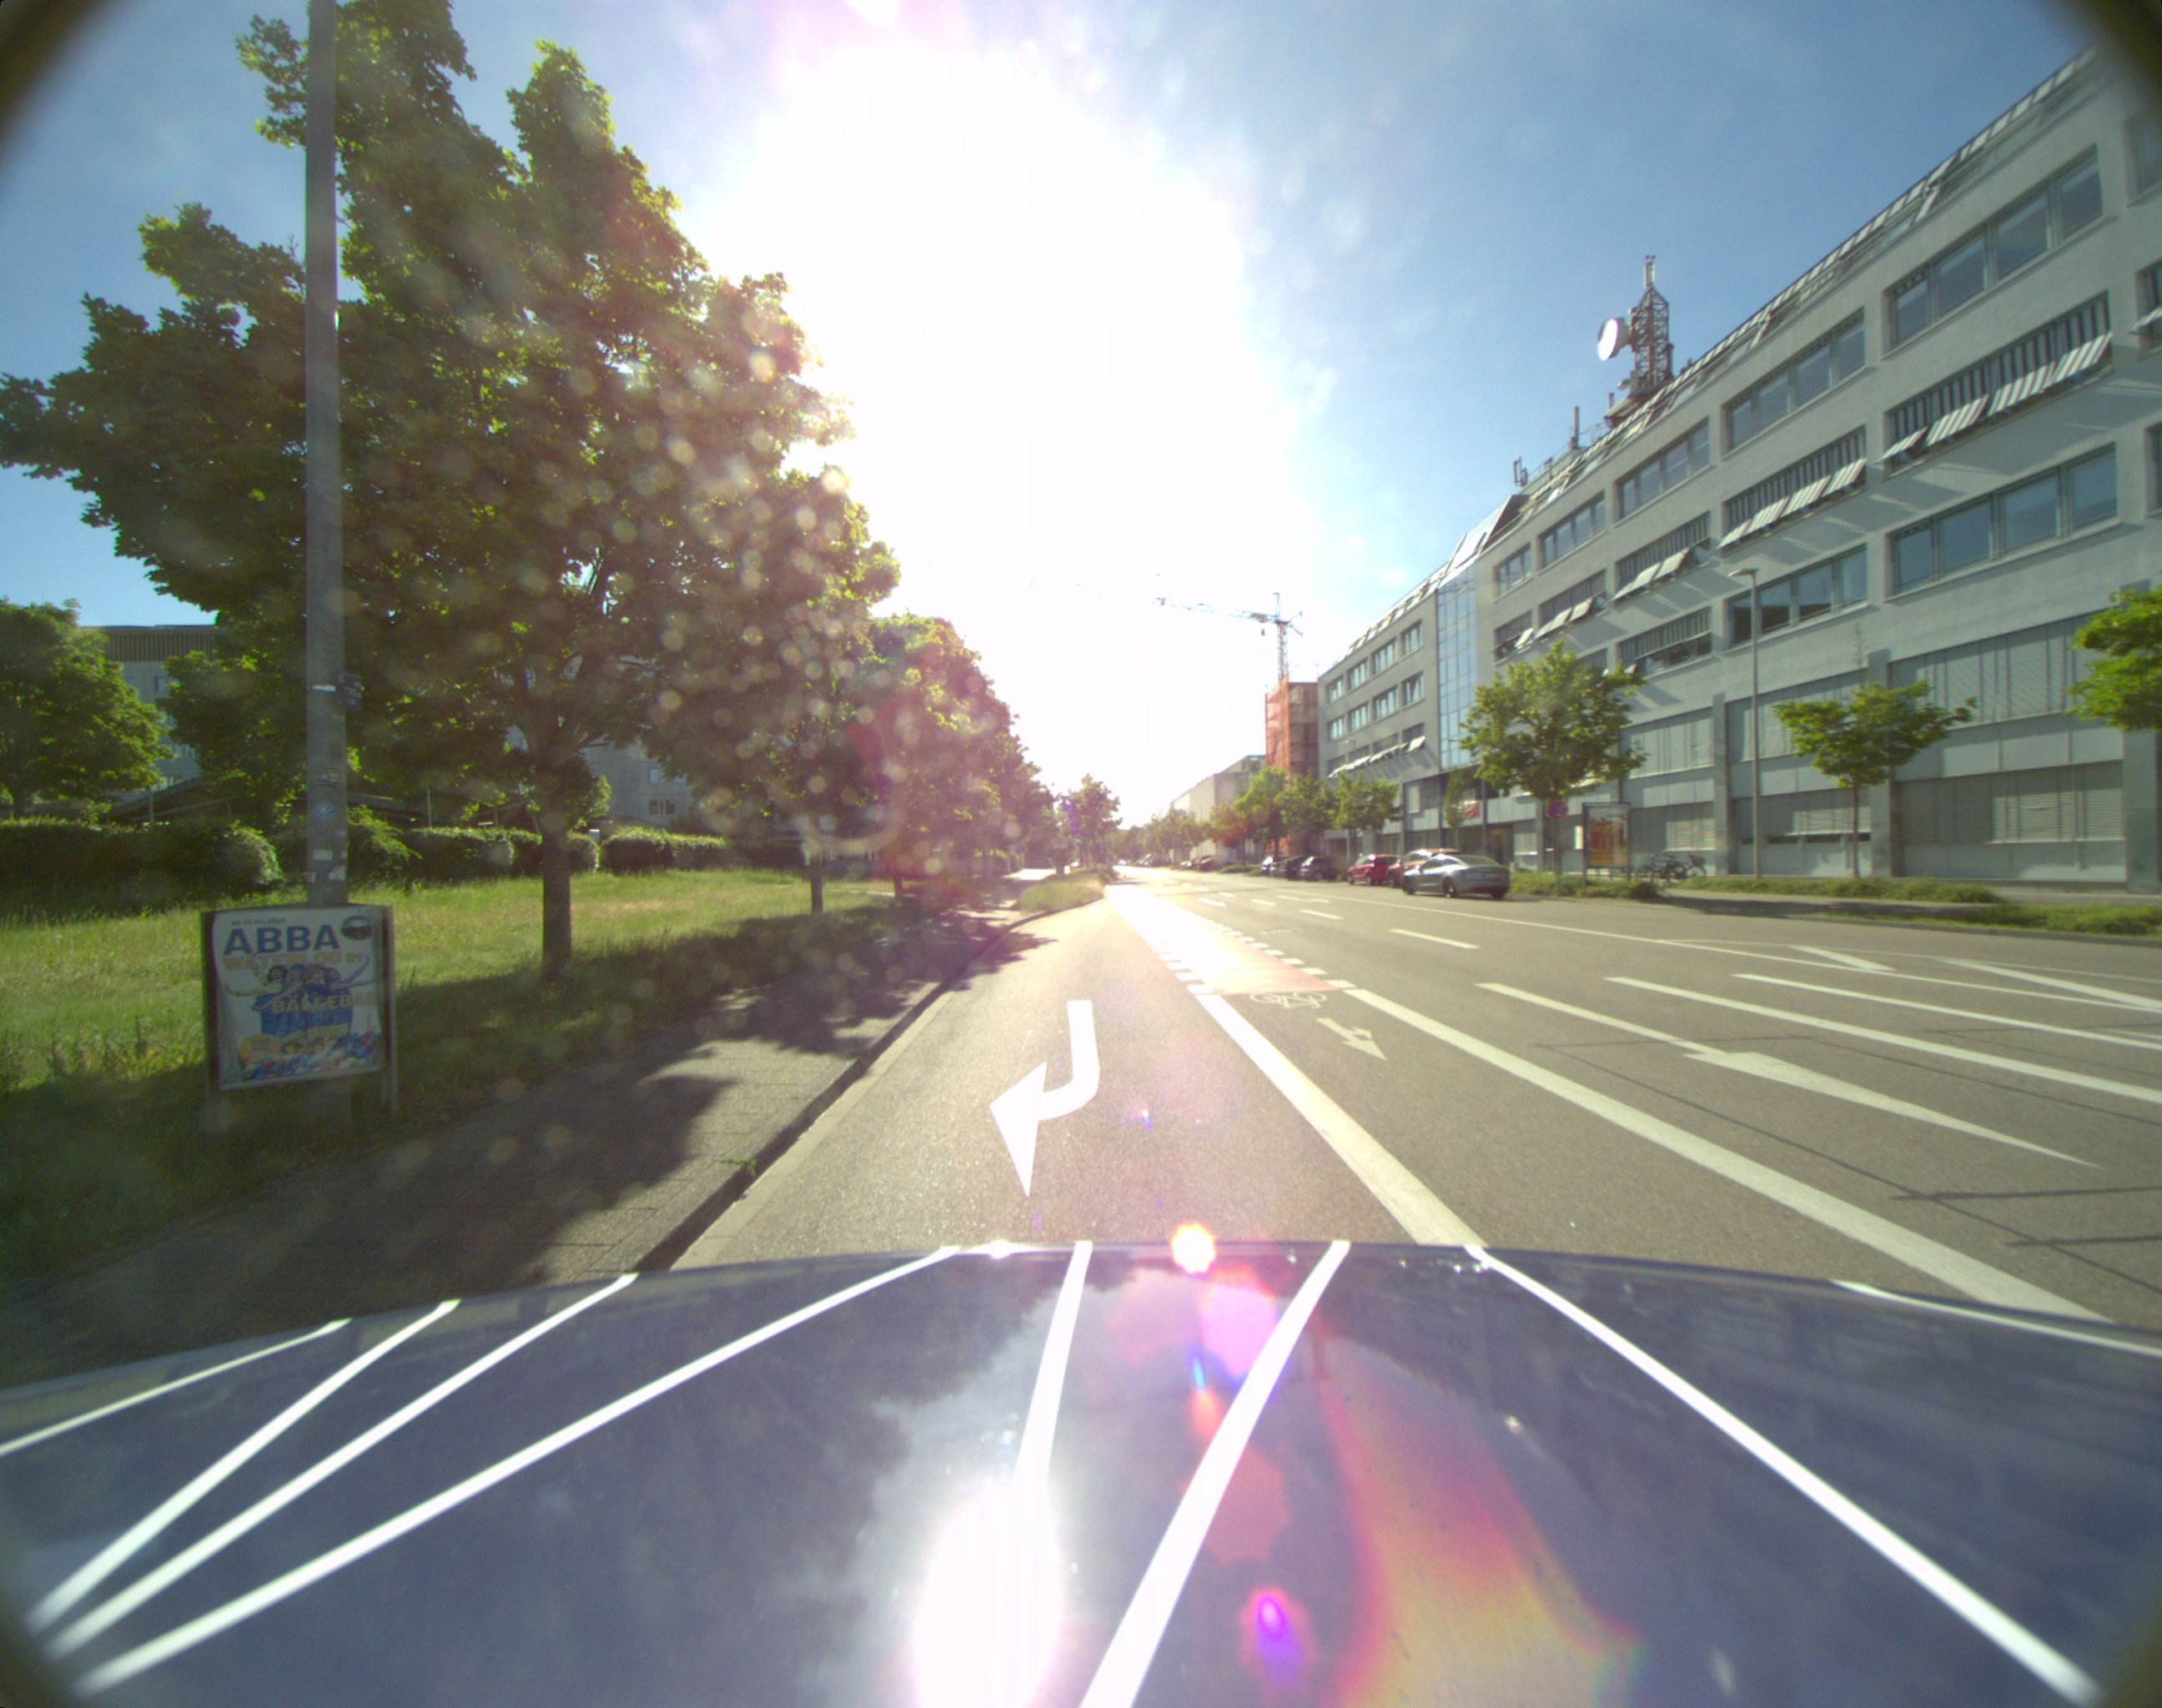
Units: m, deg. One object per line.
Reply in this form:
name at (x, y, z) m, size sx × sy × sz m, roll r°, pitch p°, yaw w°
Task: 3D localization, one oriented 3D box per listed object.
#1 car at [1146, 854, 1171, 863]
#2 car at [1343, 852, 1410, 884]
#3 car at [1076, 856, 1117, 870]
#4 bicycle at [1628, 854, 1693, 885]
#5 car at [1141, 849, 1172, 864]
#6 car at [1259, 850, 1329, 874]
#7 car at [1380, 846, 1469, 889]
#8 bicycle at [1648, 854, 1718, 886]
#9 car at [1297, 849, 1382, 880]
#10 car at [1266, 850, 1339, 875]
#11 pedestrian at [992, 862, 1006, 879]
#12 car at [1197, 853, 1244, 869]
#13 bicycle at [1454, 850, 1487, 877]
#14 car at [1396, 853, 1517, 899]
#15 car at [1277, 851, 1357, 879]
car at (14.317, 0.825, 140.095) m, size 4.315 × 1.505 × 1.693 m, roll -3°, pitch 0°, yaw -1°
car at (14.392, 0.651, 37.204) m, size 1.692 × 1.423 × 3.871 m, roll -3°, pitch 0°, yaw 0°
car at (1.675, 0.978, 82.946) m, size 4.413 × 1.454 × 1.895 m, roll 0°, pitch 0°, yaw 0°
bicycle at (20.219, 0.526, 26.543) m, size 1.770 × 1.063 × 0.556 m, roll 0°, pitch 0°, yaw 7°
car at (14.223, 0.470, 143.441) m, size 5.583 × 2.468 × 2.010 m, roll -3°, pitch 0°, yaw 2°
car at (15.128, 0.575, 54.126) m, size 4.397 × 1.423 × 1.693 m, roll -3°, pitch 0°, yaw -3°
car at (14.479, 0.553, 32.331) m, size 1.692 × 1.597 × 4.310 m, roll -3°, pitch 0°, yaw -1°
bicycle at (20.403, 0.535, 25.770) m, size 1.792 × 1.063 × 0.622 m, roll 0°, pitch 0°, yaw 7°
car at (15.168, 0.611, 44.671) m, size 4.398 × 1.529 × 1.693 m, roll -3°, pitch 0°, yaw -5°
car at (15.143, 0.563, 52.071) m, size 4.397 × 1.423 × 1.693 m, roll -3°, pitch 0°, yaw -2°
pedestrian at (-5.731, 1.160, 53.114) m, size 0.847 × 1.210 × 0.728 m, roll 0°, pitch 0°, yaw -13°
car at (14.360, 0.727, 78.223) m, size 4.398 × 1.423 × 1.977 m, roll -3°, pitch 0°, yaw -4°
bicycle at (20.272, 0.471, 39.585) m, size 0.710 × 1.339 × 2.233 m, roll 0°, pitch 0°, yaw 5°
car at (12.786, 0.702, 26.224) m, size 1.693 × 1.460 × 4.546 m, roll 0°, pitch 0°, yaw -3°
car at (14.802, 0.677, 47.719) m, size 4.397 × 1.423 × 1.693 m, roll -3°, pitch 0°, yaw -3°
